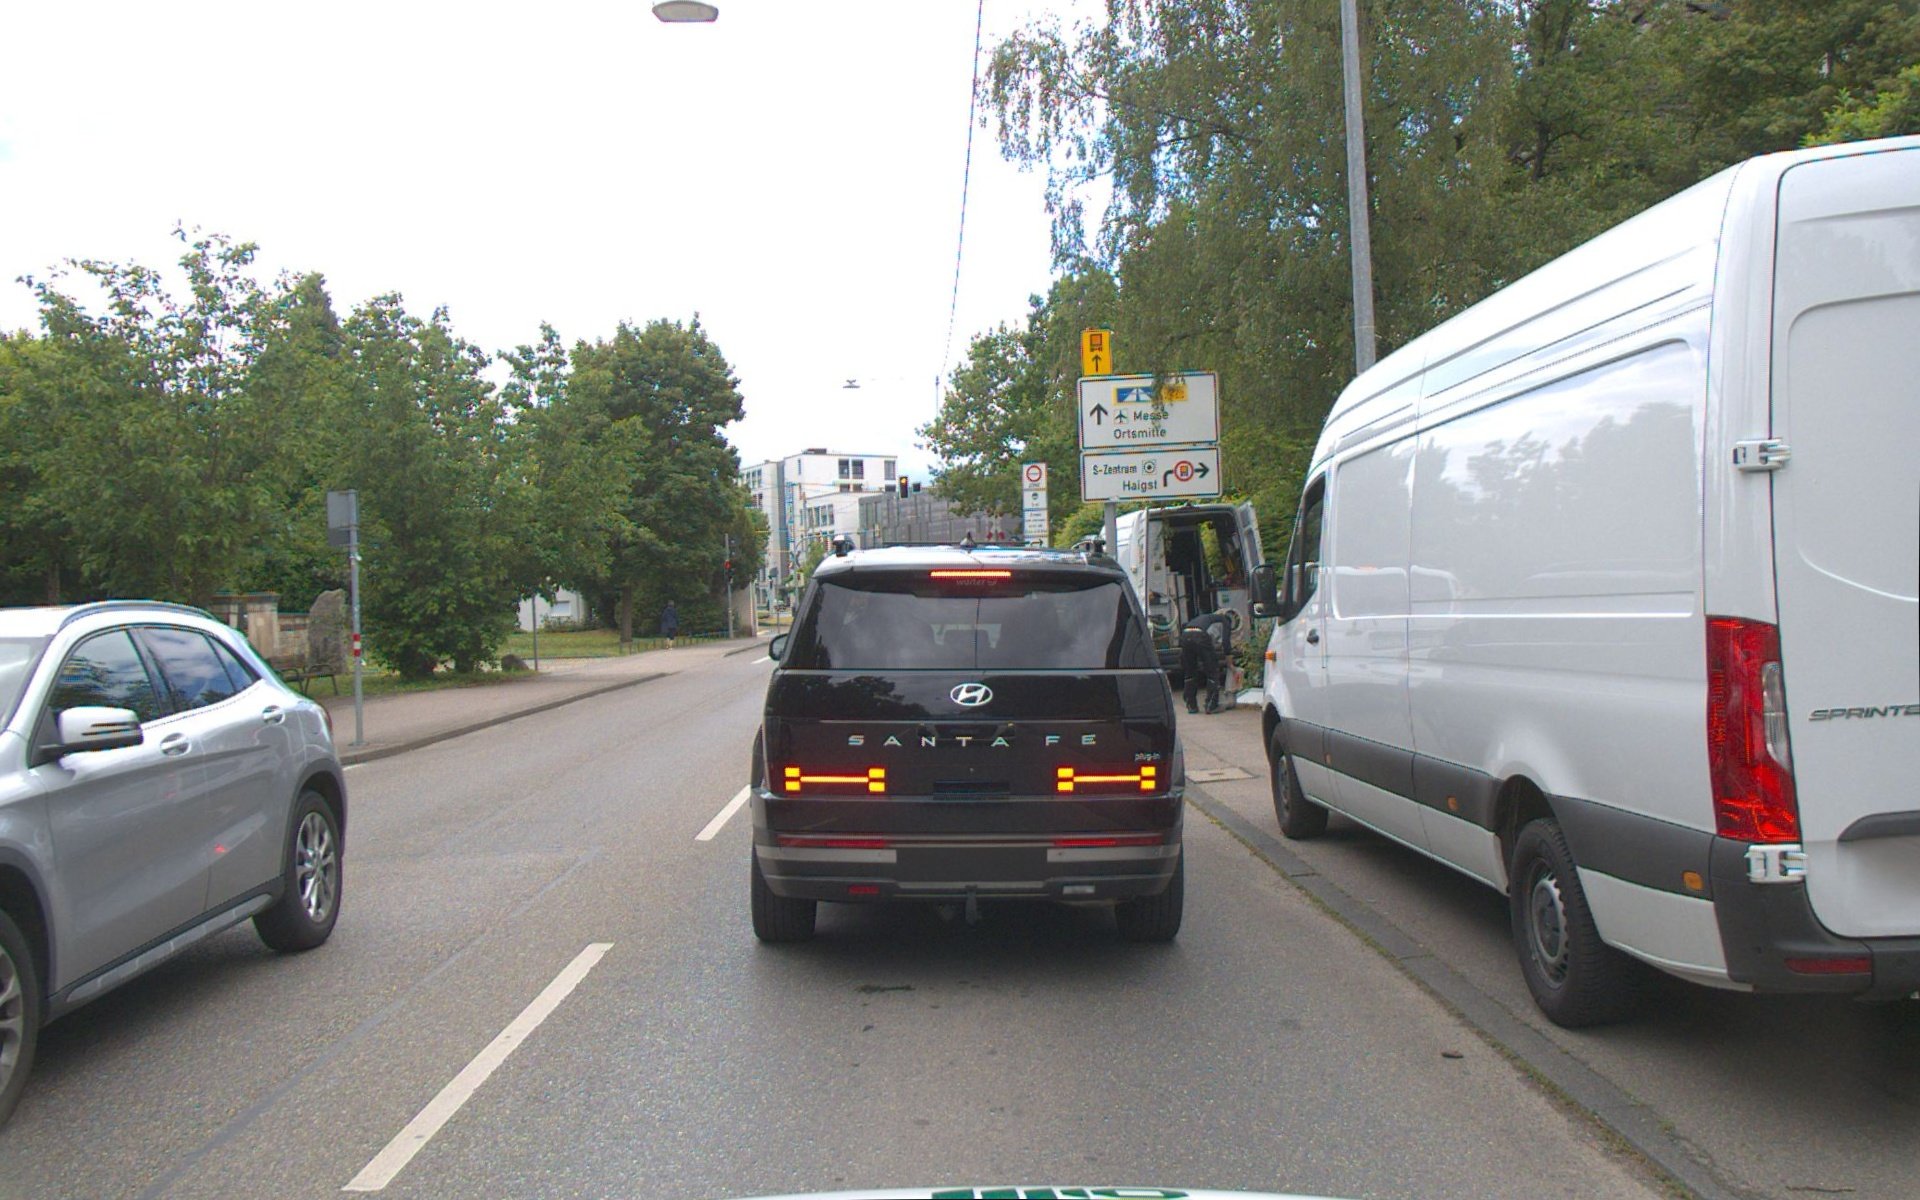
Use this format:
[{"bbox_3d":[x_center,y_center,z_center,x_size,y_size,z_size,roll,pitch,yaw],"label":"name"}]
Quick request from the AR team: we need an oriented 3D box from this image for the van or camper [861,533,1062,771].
[{"bbox_3d":[-0.014,0.453,16.627,1.719,2.049,3.999,-2,0,-1],"label":"van or camper"}]

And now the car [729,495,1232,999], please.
[{"bbox_3d":[0.049,0.535,8.107,1.851,1.851,3.999,0,0,-1],"label":"car"}]

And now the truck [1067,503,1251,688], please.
[{"bbox_3d":[3.093,-0.051,26.894,1.904,2.606,5.211,-3,0,-4],"label":"truck"}]

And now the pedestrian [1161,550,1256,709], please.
[{"bbox_3d":[2.946,0.335,19.582,0.745,1.828,0.869,-2,0,38],"label":"pedestrian"}]

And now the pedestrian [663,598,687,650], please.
[{"bbox_3d":[-9.690,0.801,56.185,0.724,1.745,0.791,-2,0,-8],"label":"pedestrian"}]

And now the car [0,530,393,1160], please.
[{"bbox_3d":[-3.528,0.710,5.729,1.749,1.682,4.118,-4,0,-2],"label":"car"}]

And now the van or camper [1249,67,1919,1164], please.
[{"bbox_3d":[2.908,0.004,7.323,1.953,2.665,6.540,-2,0,-1],"label":"van or camper"}]
